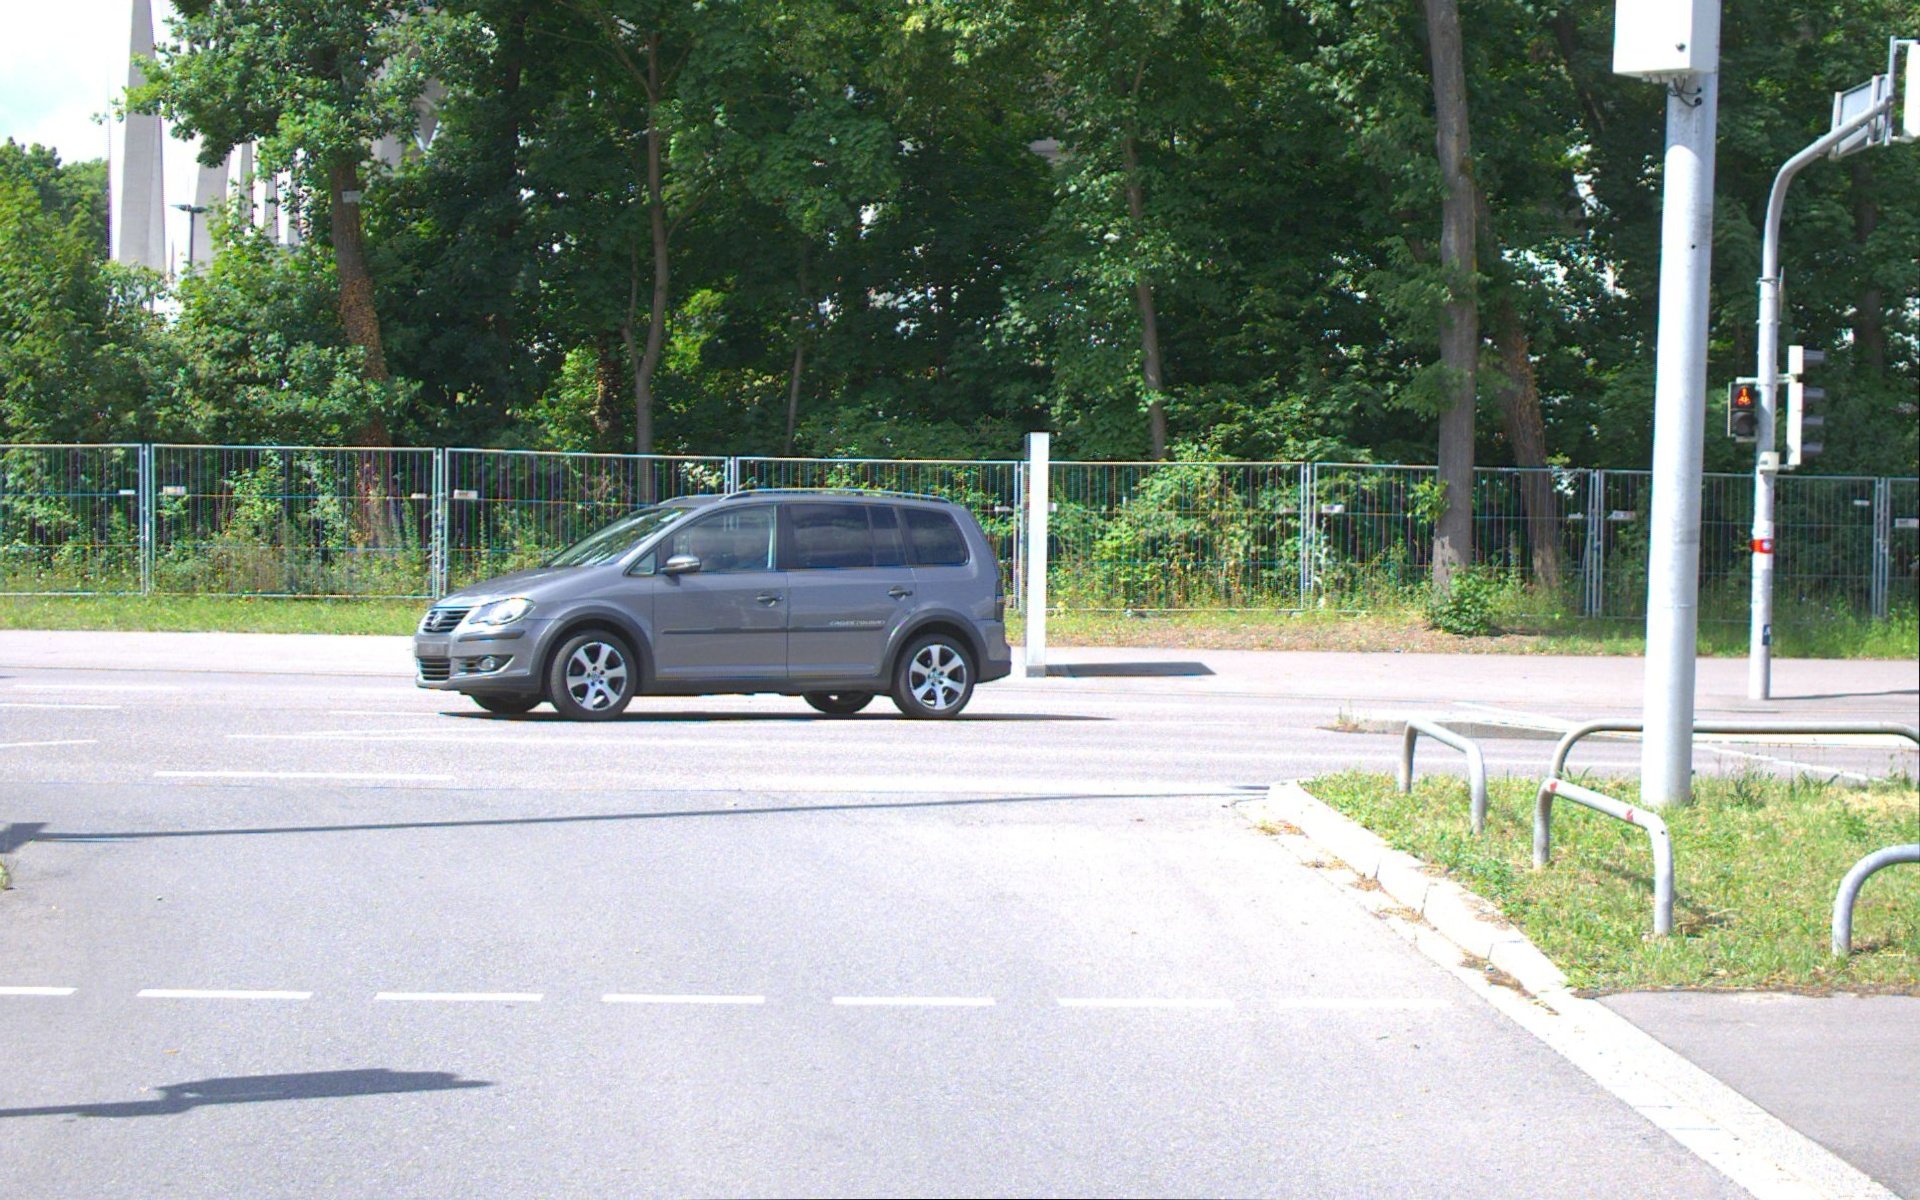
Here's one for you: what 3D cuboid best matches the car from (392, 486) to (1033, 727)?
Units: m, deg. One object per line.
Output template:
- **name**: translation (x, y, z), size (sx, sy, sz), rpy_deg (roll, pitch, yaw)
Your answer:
- **car**: translation (-1.784, 0.006, 24.973), size (4.284, 1.624, 1.767), rpy_deg (0, 2, -27)
